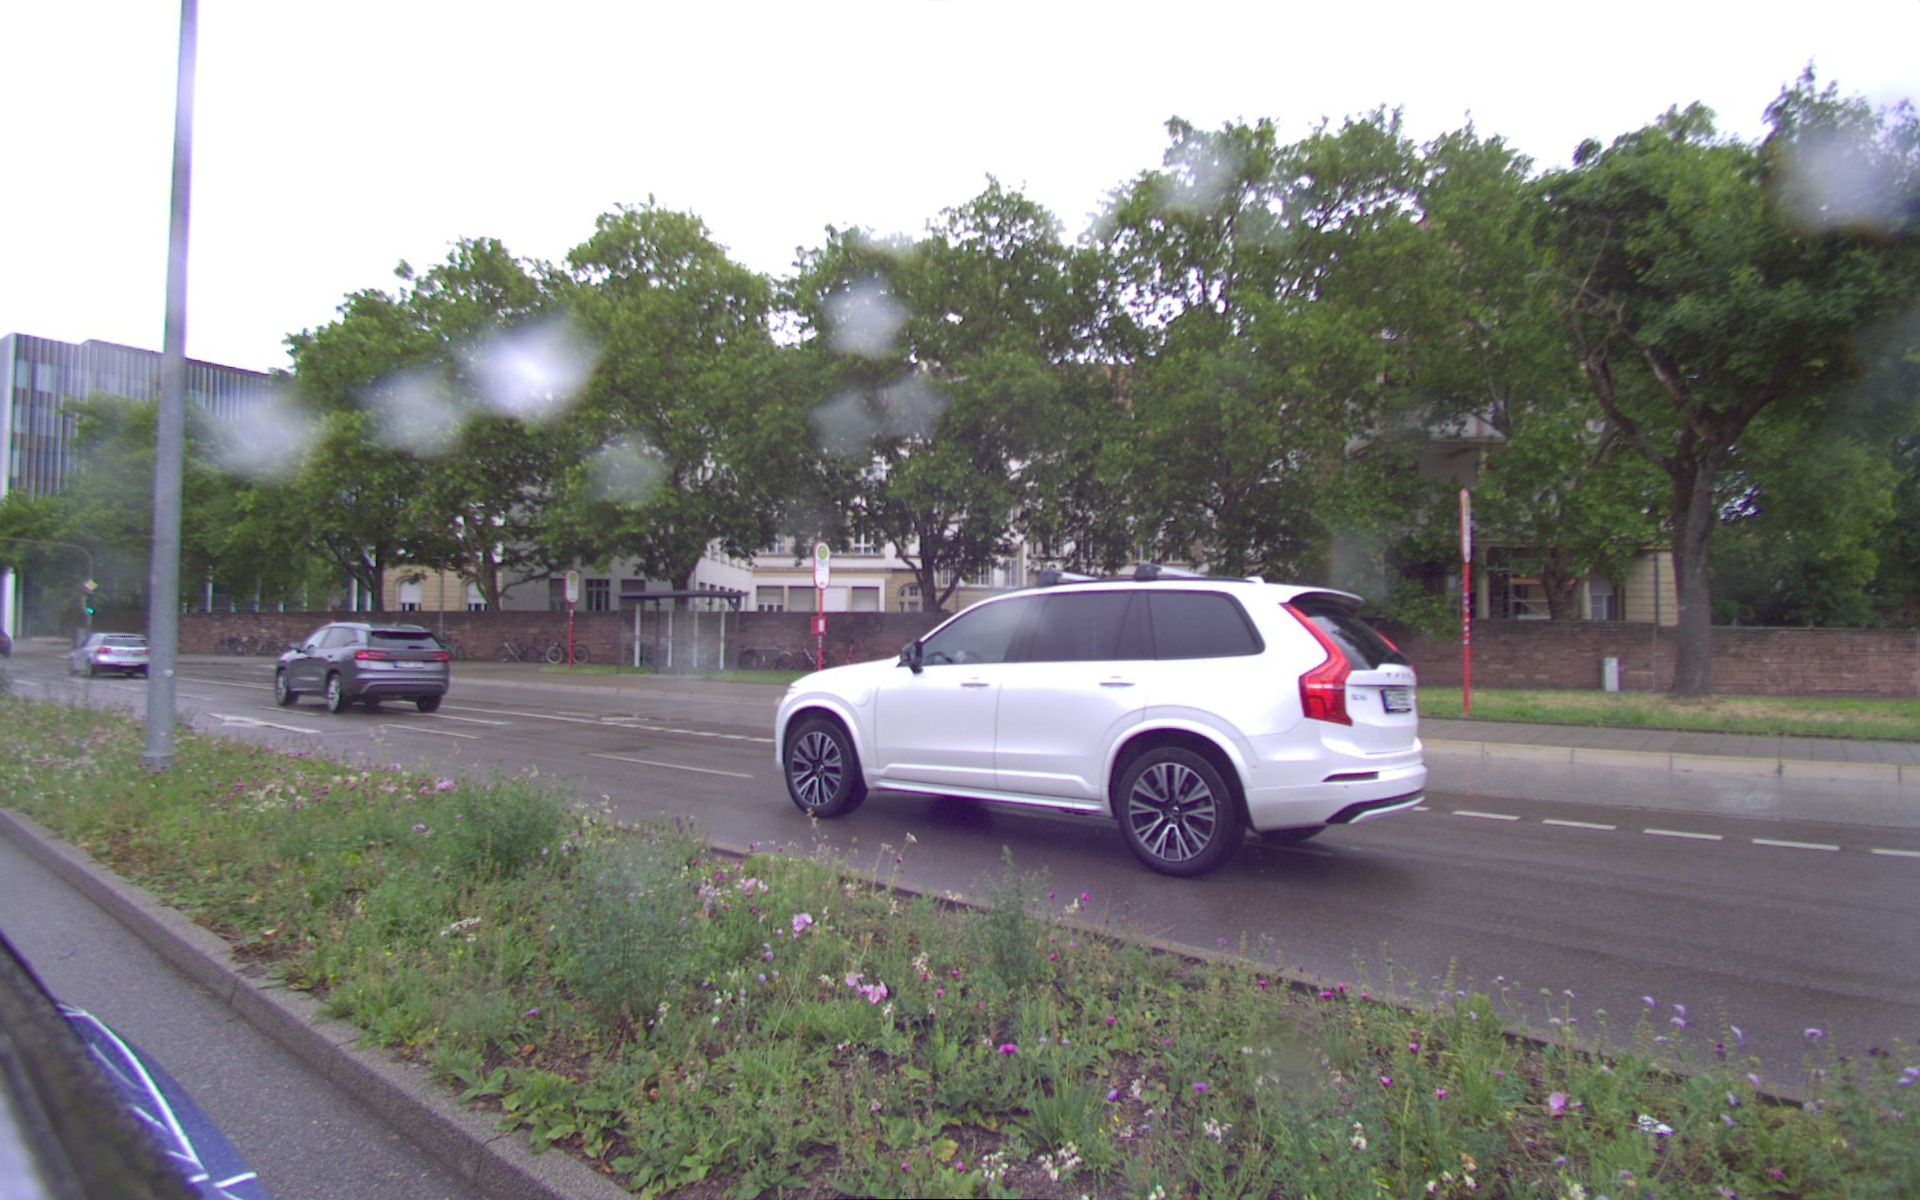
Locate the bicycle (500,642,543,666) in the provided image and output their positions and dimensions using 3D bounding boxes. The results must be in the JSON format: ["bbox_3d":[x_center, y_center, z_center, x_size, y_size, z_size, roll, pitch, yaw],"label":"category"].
[{"bbox_3d":[-18.481,2.275,42.672,1.692,0.990,0.727,-1,-2,27],"label":"bicycle"}]

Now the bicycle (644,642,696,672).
[{"bbox_3d":[-11.416,2.240,39.882,1.975,1.144,0.571,-1,-3,18],"label":"bicycle"}]

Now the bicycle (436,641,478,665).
[{"bbox_3d":[-21.578,2.266,43.430,1.692,0.990,0.727,-1,-2,27],"label":"bicycle"}]

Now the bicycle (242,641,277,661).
[{"bbox_3d":[-35.552,2.559,51.339,1.692,0.990,0.727,-1,-2,27],"label":"bicycle"}]

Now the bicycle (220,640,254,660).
[{"bbox_3d":[-37.143,2.575,52.008,1.692,0.990,0.727,-1,-2,27],"label":"bicycle"}]

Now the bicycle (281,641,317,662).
[{"bbox_3d":[-32.146,2.493,49.209,1.692,0.990,0.727,-1,-2,27],"label":"bicycle"}]

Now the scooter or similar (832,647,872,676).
[{"bbox_3d":[-4.008,2.275,37.465,1.353,1.055,0.570,-1,-3,22],"label":"scooter or similar"}]

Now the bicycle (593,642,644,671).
[{"bbox_3d":[-13.702,2.253,40.607,1.975,1.144,0.571,-1,-3,18],"label":"bicycle"}]

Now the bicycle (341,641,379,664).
[{"bbox_3d":[-27.808,2.427,46.925,1.692,0.990,0.727,-1,-2,27],"label":"bicycle"}]

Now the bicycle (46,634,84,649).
[{"bbox_3d":[-73.845,3.427,83.519,0.595,1.231,2.267,-1,-3,25],"label":"bicycle"}]

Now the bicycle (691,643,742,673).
[{"bbox_3d":[-9.448,2.254,39.283,1.978,1.144,0.570,-1,-3,22],"label":"bicycle"}]

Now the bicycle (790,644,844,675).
[{"bbox_3d":[-5.360,2.228,37.962,1.978,1.144,0.570,-1,-3,22],"label":"bicycle"}]

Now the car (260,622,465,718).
[{"bbox_3d":[-11.669,1.308,19.658,4.600,1.648,1.973,-1,-5,41],"label":"car"}]

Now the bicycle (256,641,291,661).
[{"bbox_3d":[-33.882,2.510,49.937,1.858,0.990,0.726,-1,-2,31],"label":"bicycle"}]

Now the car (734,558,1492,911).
[{"bbox_3d":[0.754,0.747,7.243,5.160,1.695,1.808,-1,-5,40],"label":"car"}]

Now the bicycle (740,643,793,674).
[{"bbox_3d":[-7.349,2.209,38.441,1.978,1.144,0.570,-1,-3,22],"label":"bicycle"}]

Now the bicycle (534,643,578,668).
[{"bbox_3d":[-16.651,2.277,41.688,1.692,0.990,0.727,-1,-2,27],"label":"bicycle"}]

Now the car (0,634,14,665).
[{"bbox_3d":[-49.698,2.461,51.259,4.696,1.552,1.791,-1,-4,38],"label":"car"}]

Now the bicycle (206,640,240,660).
[{"bbox_3d":[-38.753,2.616,53.229,1.692,0.990,0.727,-1,-2,27],"label":"bicycle"}]

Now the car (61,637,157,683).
[{"bbox_3d":[-28.437,1.985,33.778,4.154,1.415,1.662,-1,-4,40],"label":"car"}]

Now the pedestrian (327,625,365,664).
[{"bbox_3d":[-27.562,1.981,45.437,1.395,1.708,0.862,-1,-3,32],"label":"pedestrian"}]
